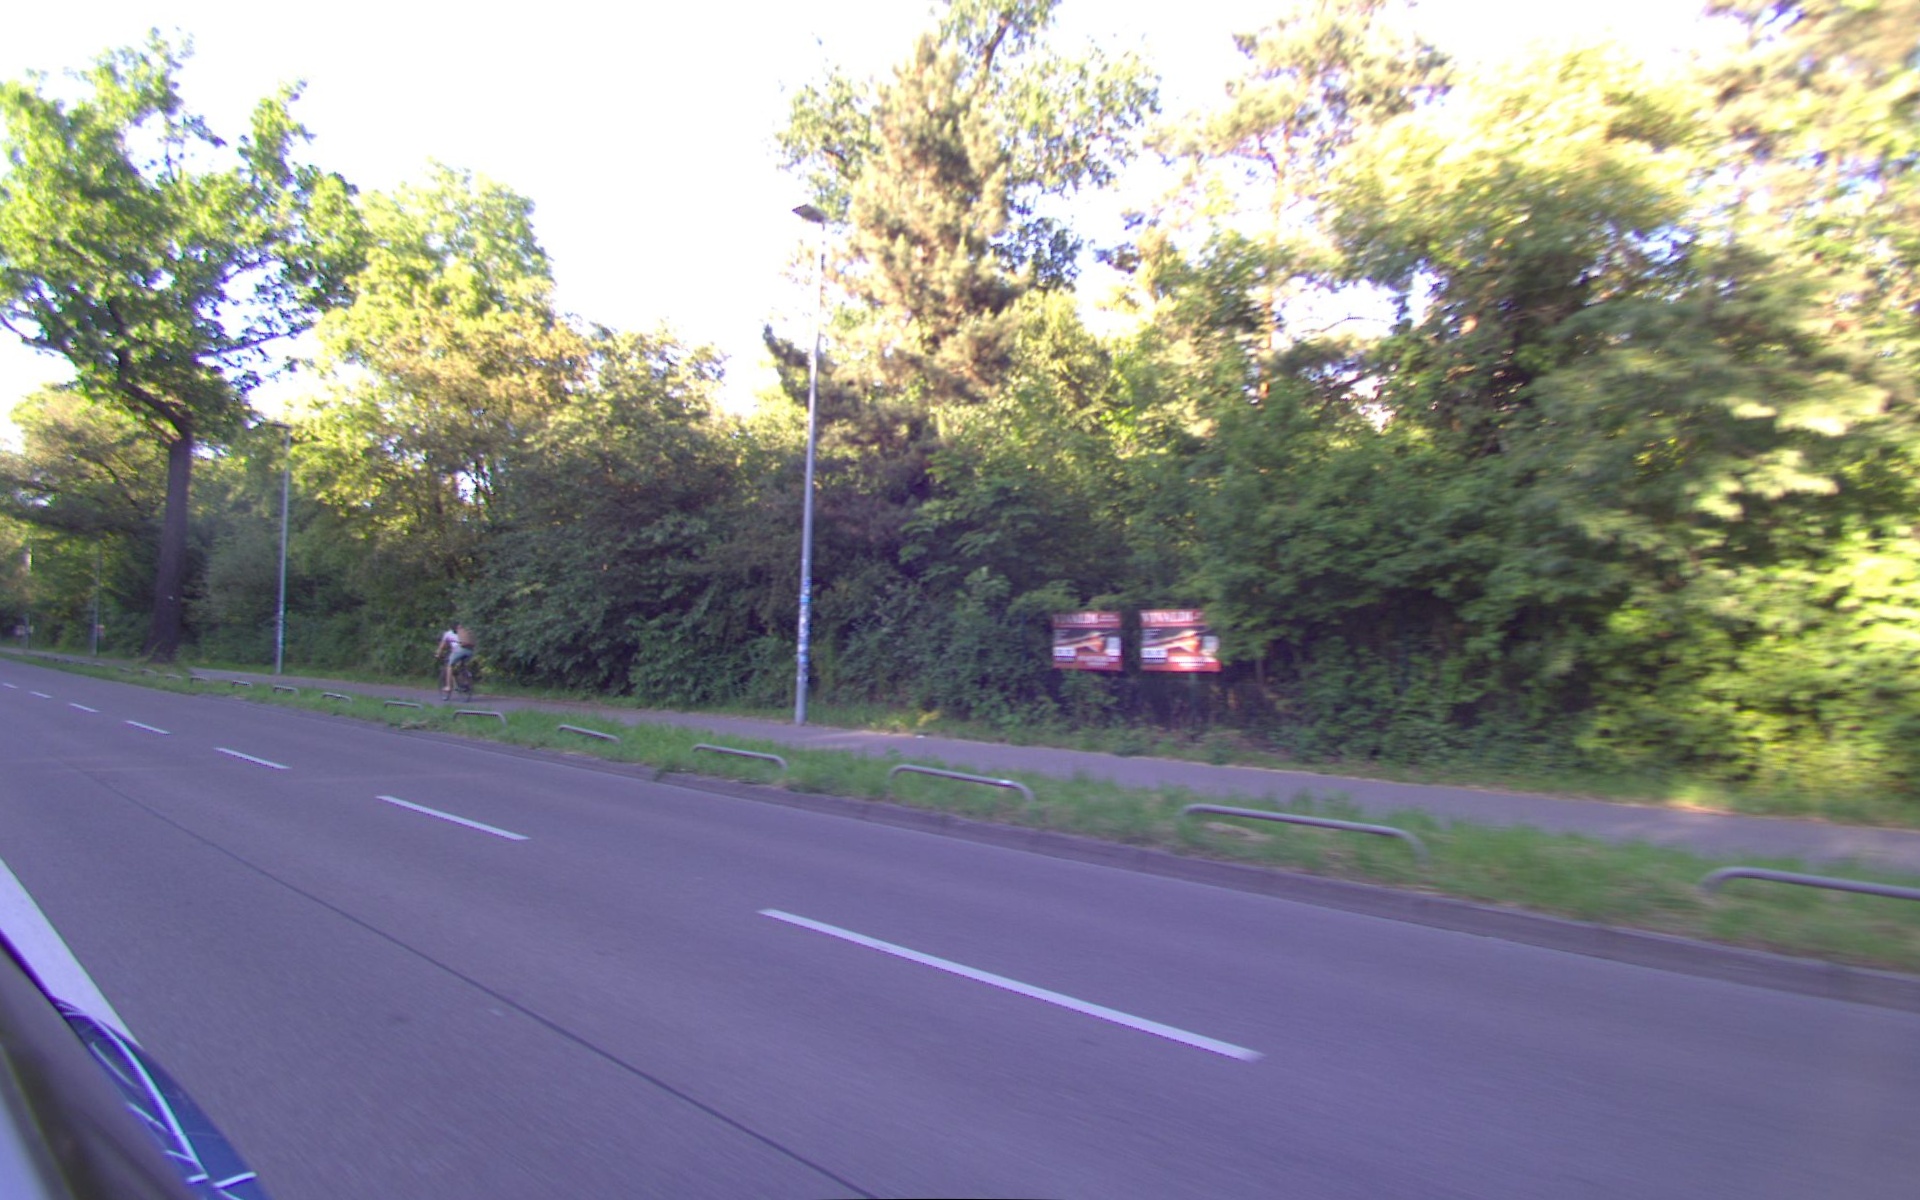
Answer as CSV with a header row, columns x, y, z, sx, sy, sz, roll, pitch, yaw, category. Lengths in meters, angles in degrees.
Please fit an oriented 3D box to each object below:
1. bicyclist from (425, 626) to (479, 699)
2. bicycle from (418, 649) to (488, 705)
x,y,z,sx,sy,sz,roll,pitch,yaw,category
-11.422,1.377,22.756,1.142,1.570,0.705,-1,-1,41,bicyclist
-11.418,1.705,22.750,1.992,1.156,0.705,-1,-1,41,bicycle
